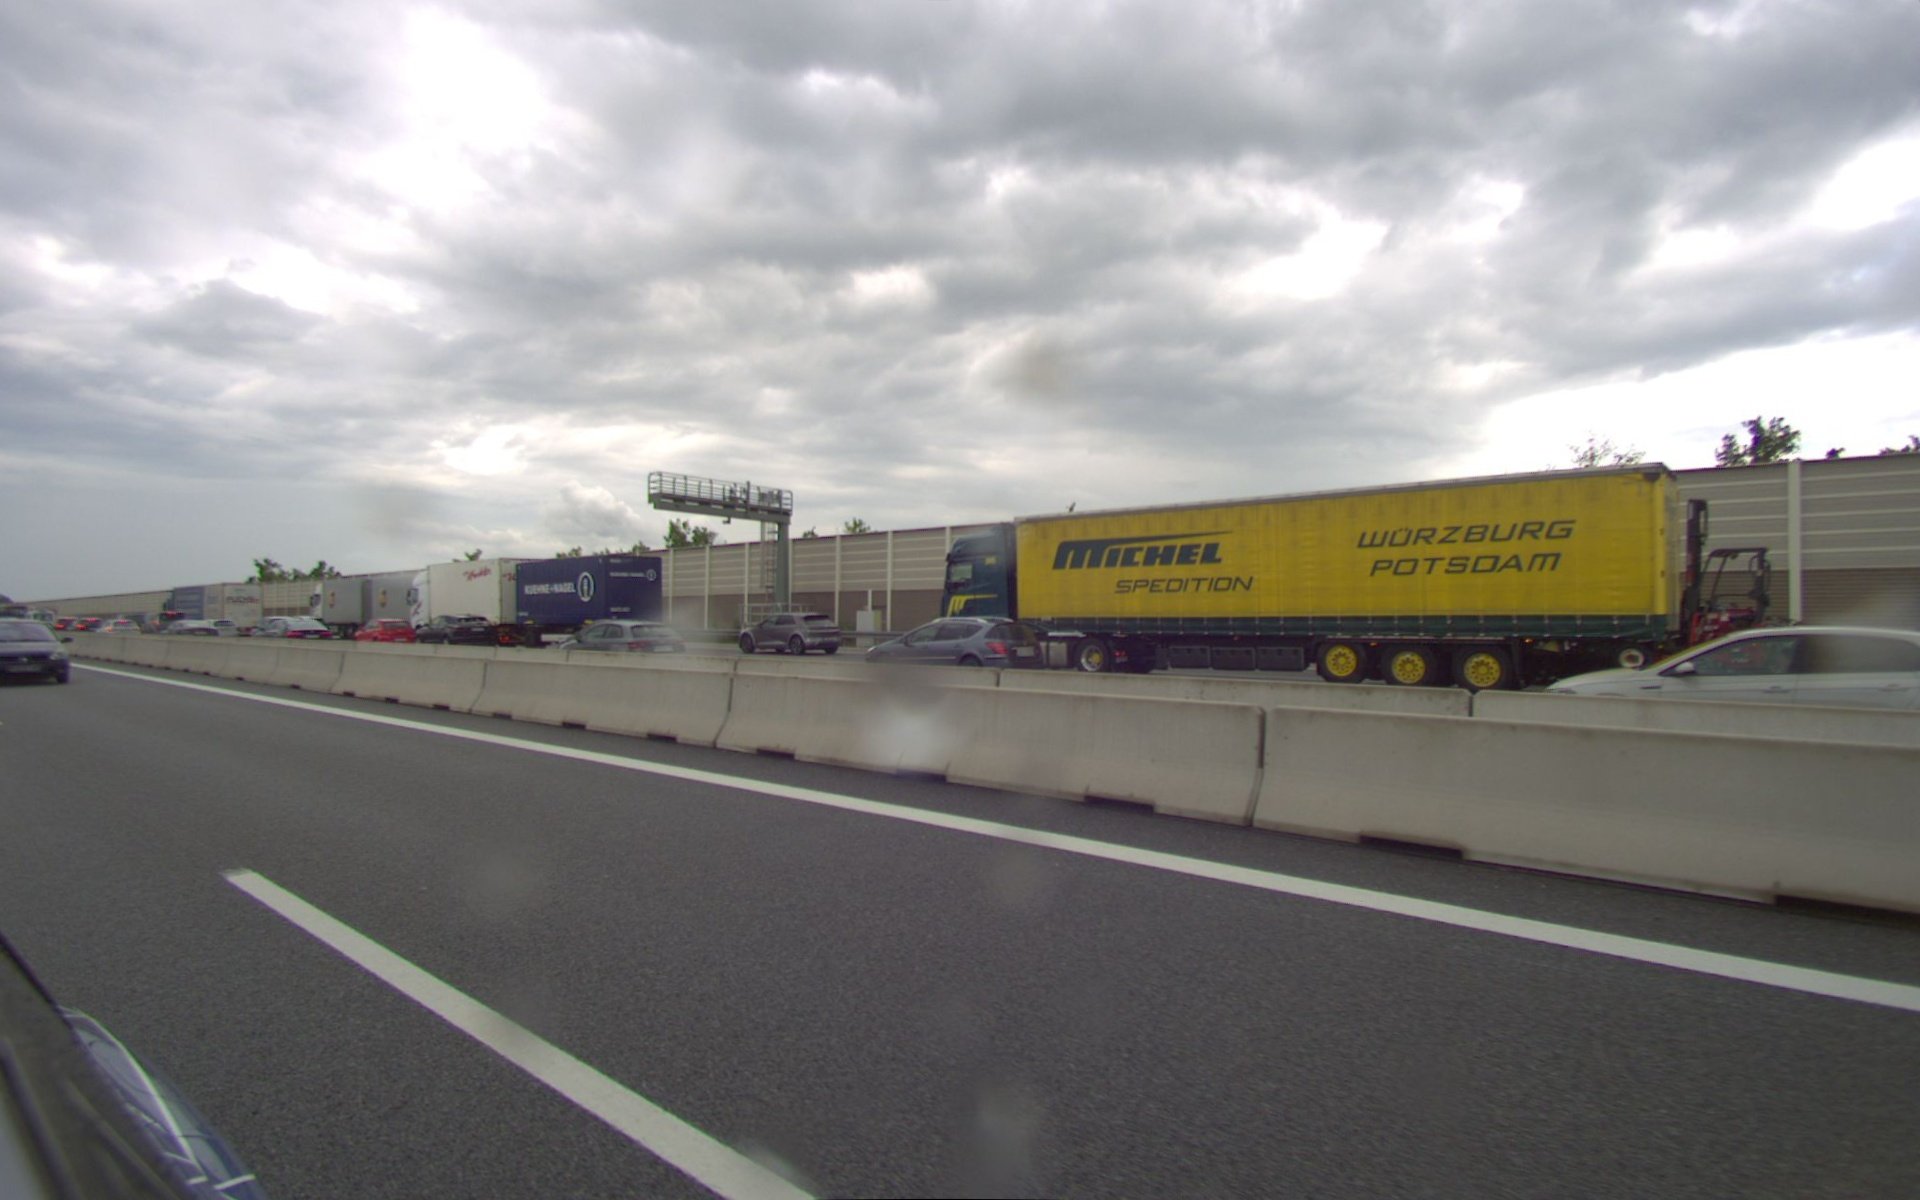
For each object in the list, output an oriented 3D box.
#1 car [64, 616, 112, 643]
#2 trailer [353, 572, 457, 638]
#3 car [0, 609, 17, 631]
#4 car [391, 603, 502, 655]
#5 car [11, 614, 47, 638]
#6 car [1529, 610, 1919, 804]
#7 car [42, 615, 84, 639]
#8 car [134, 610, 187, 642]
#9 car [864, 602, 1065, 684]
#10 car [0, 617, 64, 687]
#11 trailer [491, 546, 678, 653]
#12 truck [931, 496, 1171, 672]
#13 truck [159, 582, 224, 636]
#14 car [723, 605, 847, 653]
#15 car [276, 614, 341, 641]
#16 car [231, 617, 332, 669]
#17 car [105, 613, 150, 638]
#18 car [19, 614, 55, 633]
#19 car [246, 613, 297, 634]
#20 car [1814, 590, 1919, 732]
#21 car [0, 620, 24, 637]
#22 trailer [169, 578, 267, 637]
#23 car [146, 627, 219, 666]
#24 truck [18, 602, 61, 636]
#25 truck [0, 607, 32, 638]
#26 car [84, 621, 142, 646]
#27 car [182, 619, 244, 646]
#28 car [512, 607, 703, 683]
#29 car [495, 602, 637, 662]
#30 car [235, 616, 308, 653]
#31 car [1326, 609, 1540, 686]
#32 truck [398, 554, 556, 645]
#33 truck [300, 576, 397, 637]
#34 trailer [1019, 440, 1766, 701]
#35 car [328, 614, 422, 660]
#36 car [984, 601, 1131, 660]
[{"bbox_3d":[-63.794,2.125,74.013,5.430,1.911,1.913,-1,-1,41],"label":"car"},{"bbox_3d":[-34.878,0.354,63.402,9.278,3.901,2.693,-1,-1,41],"label":"trailer"},{"bbox_3d":[-120.067,2.487,126.812,4.926,2.770,2.107,-1,-1,38],"label":"car"},{"bbox_3d":[-21.359,1.181,41.996,5.803,2.017,2.040,-1,-1,40],"label":"car"},{"bbox_3d":[-100.541,2.761,109.274,5.142,2.492,2.006,-1,-1,38],"label":"car"},{"bbox_3d":[8.538,0.976,10.372,4.407,1.712,2.040,-1,-1,40],"label":"car"},{"bbox_3d":[-72.554,2.152,81.863,5.423,1.905,1.899,-1,-1,41],"label":"car"},{"bbox_3d":[-57.271,1.865,72.454,5.430,2.175,2.039,-1,-1,41],"label":"car"},{"bbox_3d":[0.036,0.941,23.462,4.407,1.712,2.040,-1,-1,40],"label":"car"},{"bbox_3d":[-21.116,1.100,22.357,3.999,1.413,1.558,-1,-1,42],"label":"car"},{"bbox_3d":[-15.792,0.060,42.011,10.116,3.969,2.900,-1,-1,42],"label":"trailer"},{"bbox_3d":[2.263,-0.340,26.289,5.723,4.065,2.716,-1,-1,41],"label":"truck"},{"bbox_3d":[-62.939,0.763,82.867,6.690,4.277,3.038,-1,-1,42],"label":"truck"},{"bbox_3d":[-6.831,1.107,39.252,4.954,1.736,2.040,-1,-1,40],"label":"car"},{"bbox_3d":[-41.930,1.747,65.092,5.805,1.612,2.039,-1,-1,41],"label":"car"},{"bbox_3d":[-28.586,1.752,42.578,5.803,2.017,2.040,-1,-1,40],"label":"car"},{"bbox_3d":[-66.605,2.020,80.924,5.430,1.911,1.913,-1,-1,41],"label":"car"},{"bbox_3d":[-82.217,2.120,90.115,4.205,1.644,1.794,-1,-1,39],"label":"car"},{"bbox_3d":[-55.315,1.873,81.252,5.805,1.612,2.039,-1,-1,41],"label":"car"},{"bbox_3d":[13.185,0.715,12.173,4.407,1.712,2.040,-1,-1,40],"label":"car"},{"bbox_3d":[-94.002,2.826,99.684,4.690,1.644,1.901,-1,-1,38],"label":"car"},{"bbox_3d":[-57.368,0.670,77.989,14.308,4.192,3.026,-1,-1,41],"label":"trailer"},{"bbox_3d":[-42.389,2.480,55.117,5.804,2.017,2.040,-1,-1,41],"label":"car"},{"bbox_3d":[-137.051,2.830,150.568,11.687,4.894,3.185,-1,-1,40],"label":"truck"},{"bbox_3d":[-159.012,3.733,169.184,17.213,4.894,3.405,-1,-1,40],"label":"truck"},{"bbox_3d":[-55.239,2.160,65.976,5.805,1.576,2.039,-1,-1,41],"label":"car"},{"bbox_3d":[-48.699,2.084,65.917,5.805,1.612,2.039,-1,-1,41],"label":"car"},{"bbox_3d":[-9.223,1.097,26.177,5.803,1.768,2.040,-1,-1,40],"label":"car"},{"bbox_3d":[-13.610,1.060,34.727,5.803,1.907,2.040,-1,-1,40],"label":"car"},{"bbox_3d":[-39.005,1.919,57.264,5.805,2.017,2.039,-1,-1,41],"label":"car"},{"bbox_3d":[11.596,1.099,24.949,4.407,1.712,2.040,-1,-1,40],"label":"car"},{"bbox_3d":[-23.649,0.076,49.116,11.063,3.975,2.906,-1,-1,42],"label":"truck"},{"bbox_3d":[-42.365,0.508,69.881,10.494,3.928,2.659,-1,-1,41],"label":"truck"},{"bbox_3d":[7.802,-0.399,21.485,14.445,4.062,2.732,-1,-1,41],"label":"trailer"},{"bbox_3d":[-27.642,1.699,47.755,5.803,2.017,2.040,-1,-1,40],"label":"car"},{"bbox_3d":[3.024,0.927,31.762,4.208,1.736,2.040,-1,-1,40],"label":"car"}]
